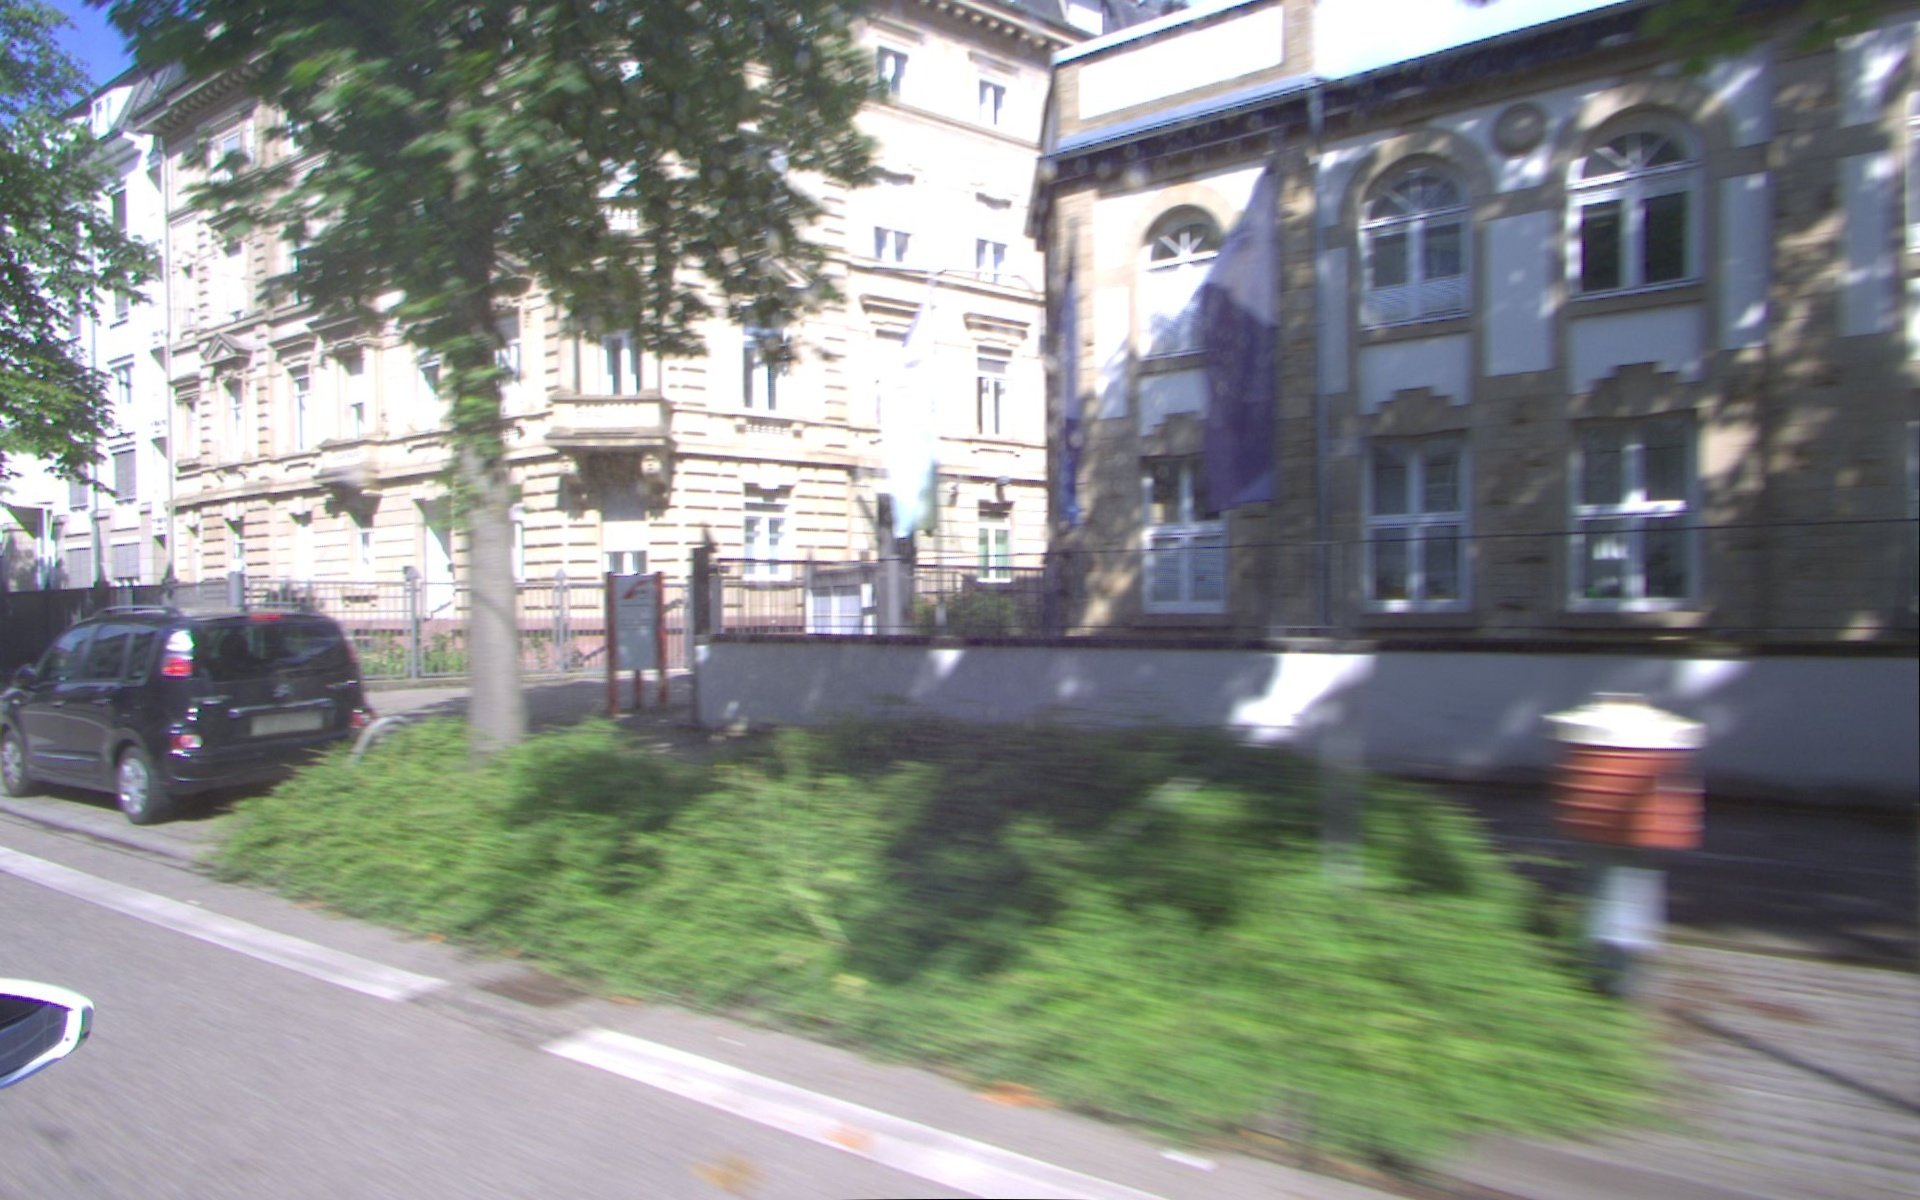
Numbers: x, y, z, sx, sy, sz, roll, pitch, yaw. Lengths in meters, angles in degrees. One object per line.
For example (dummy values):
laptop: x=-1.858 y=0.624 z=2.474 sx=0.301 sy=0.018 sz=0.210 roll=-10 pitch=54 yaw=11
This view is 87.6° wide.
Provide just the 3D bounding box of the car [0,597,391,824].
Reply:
car: x=-7.191 y=0.837 z=9.000 sx=4.140 sy=1.612 sz=1.694 roll=-1 pitch=1 yaw=30
